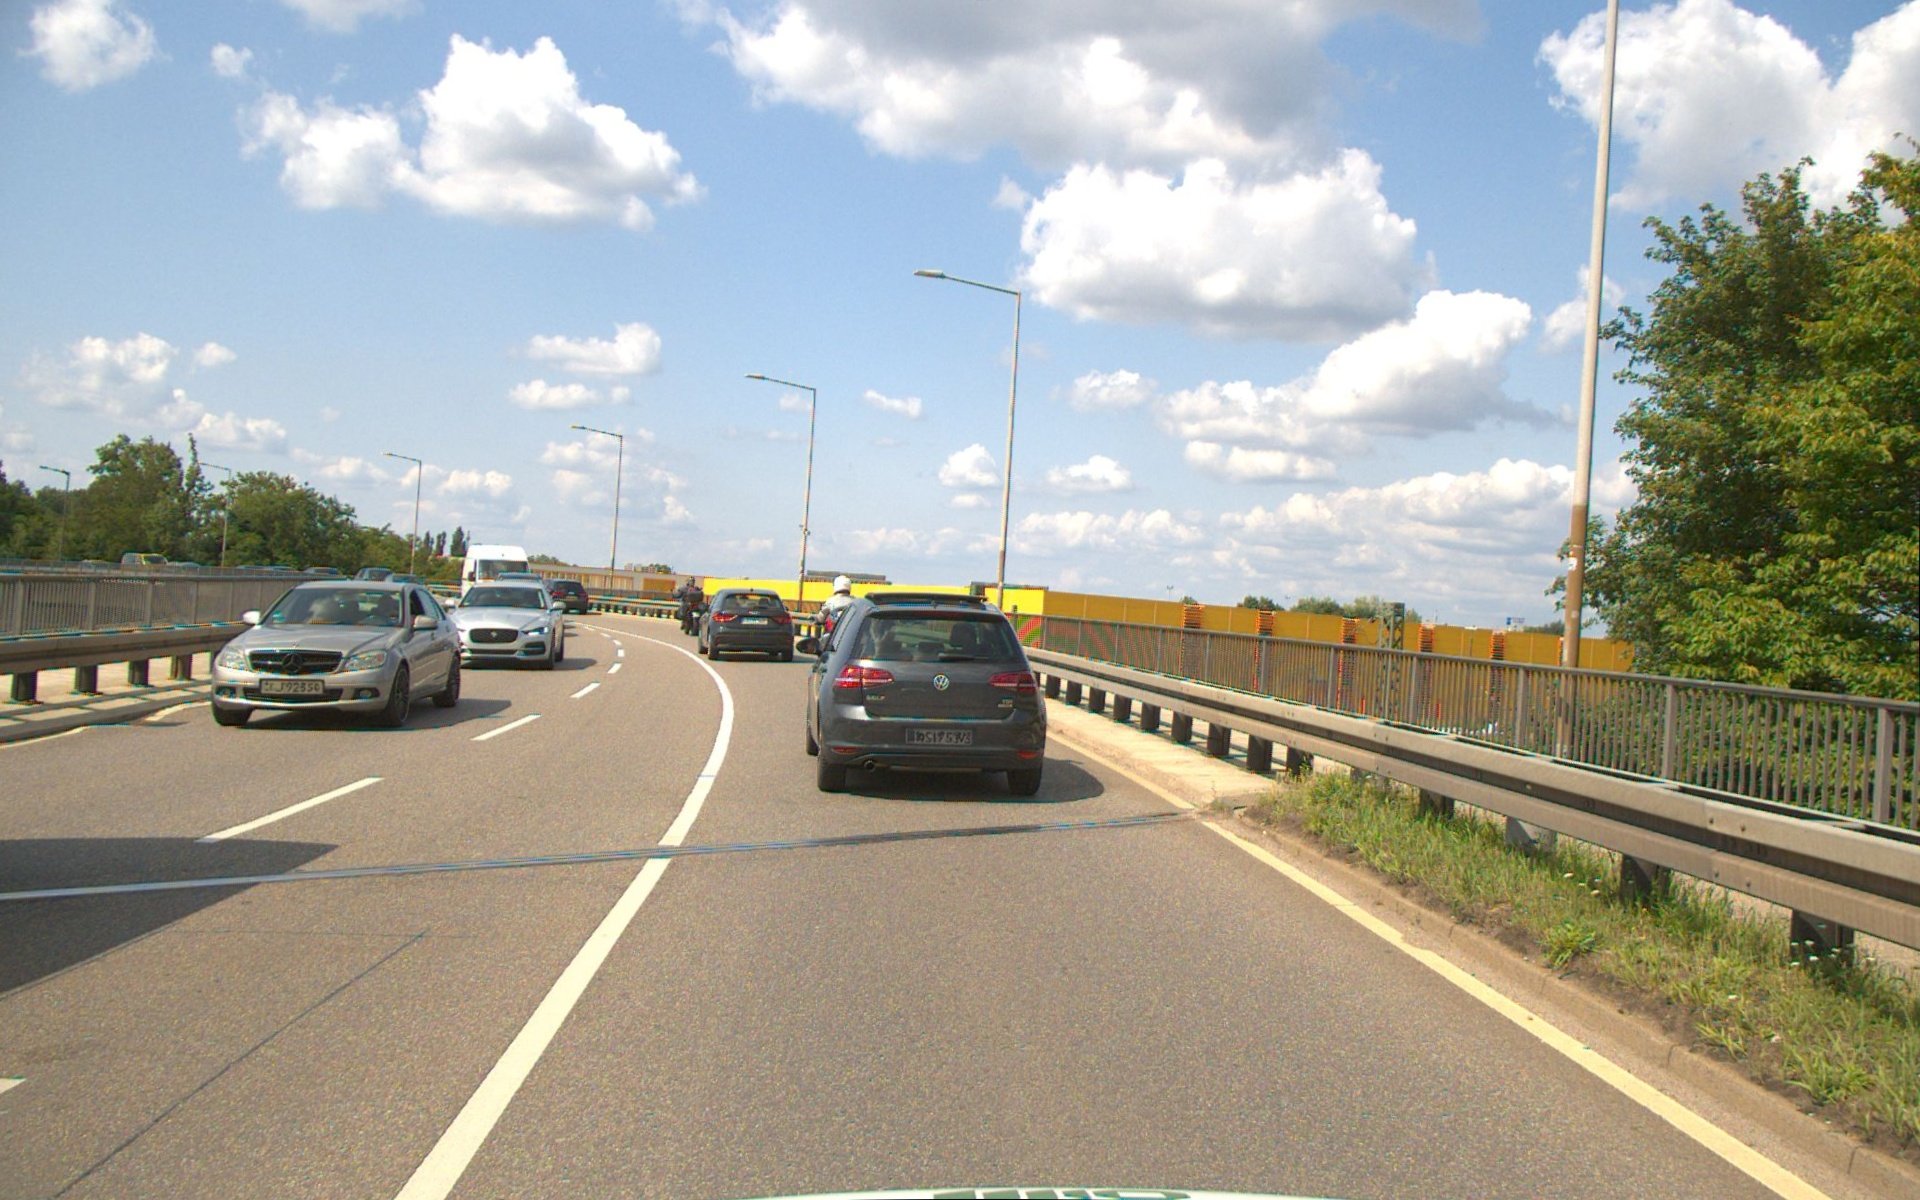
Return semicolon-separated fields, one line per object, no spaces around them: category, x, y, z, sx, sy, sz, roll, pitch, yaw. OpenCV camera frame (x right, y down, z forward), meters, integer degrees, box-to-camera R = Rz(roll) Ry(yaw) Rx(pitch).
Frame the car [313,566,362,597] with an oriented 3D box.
car;-34.181;-1.014;90.781;1.668;1.624;4.235;1;1;-33

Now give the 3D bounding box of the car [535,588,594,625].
car;-17.020;0.258;71.110;1.622;1.504;3.840;2;0;-26

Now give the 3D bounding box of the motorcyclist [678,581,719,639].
motorcyclist;-7.557;0.275;47.745;0.951;1.624;1.119;3;0;-18

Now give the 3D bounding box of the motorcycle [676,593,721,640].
motorcycle;-7.571;0.452;47.785;0.874;1.269;2.387;2;0;-18

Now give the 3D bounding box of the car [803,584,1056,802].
car;-0.390;0.666;13.656;1.611;1.504;3.865;2;0;-8

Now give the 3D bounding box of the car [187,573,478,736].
car;-6.451;0.503;17.525;1.713;1.474;4.333;1;0;-5

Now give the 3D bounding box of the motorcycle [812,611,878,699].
motorcycle;-1.699;0.775;24.065;0.774;1.151;2.395;2;0;-8

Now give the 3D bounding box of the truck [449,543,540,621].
truck;-16.314;-0.649;57.736;1.970;2.551;5.896;1;1;-27

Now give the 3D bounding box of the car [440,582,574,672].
car;-7.814;0.422;28.887;1.761;1.399;4.570;2;0;-10

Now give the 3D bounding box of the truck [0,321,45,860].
truck;-5.656;-0.021;5.508;1.953;2.666;6.102;0;1;-2

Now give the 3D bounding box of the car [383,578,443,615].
car;-25.418;-0.189;76.749;1.668;1.624;4.235;1;1;-33

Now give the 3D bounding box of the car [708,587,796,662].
car;-4.311;0.493;33.944;1.651;1.412;3.731;1;-1;-9

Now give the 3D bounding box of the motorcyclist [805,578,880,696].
motorcyclist;-1.730;0.529;24.176;0.948;1.648;1.123;2;0;-8
